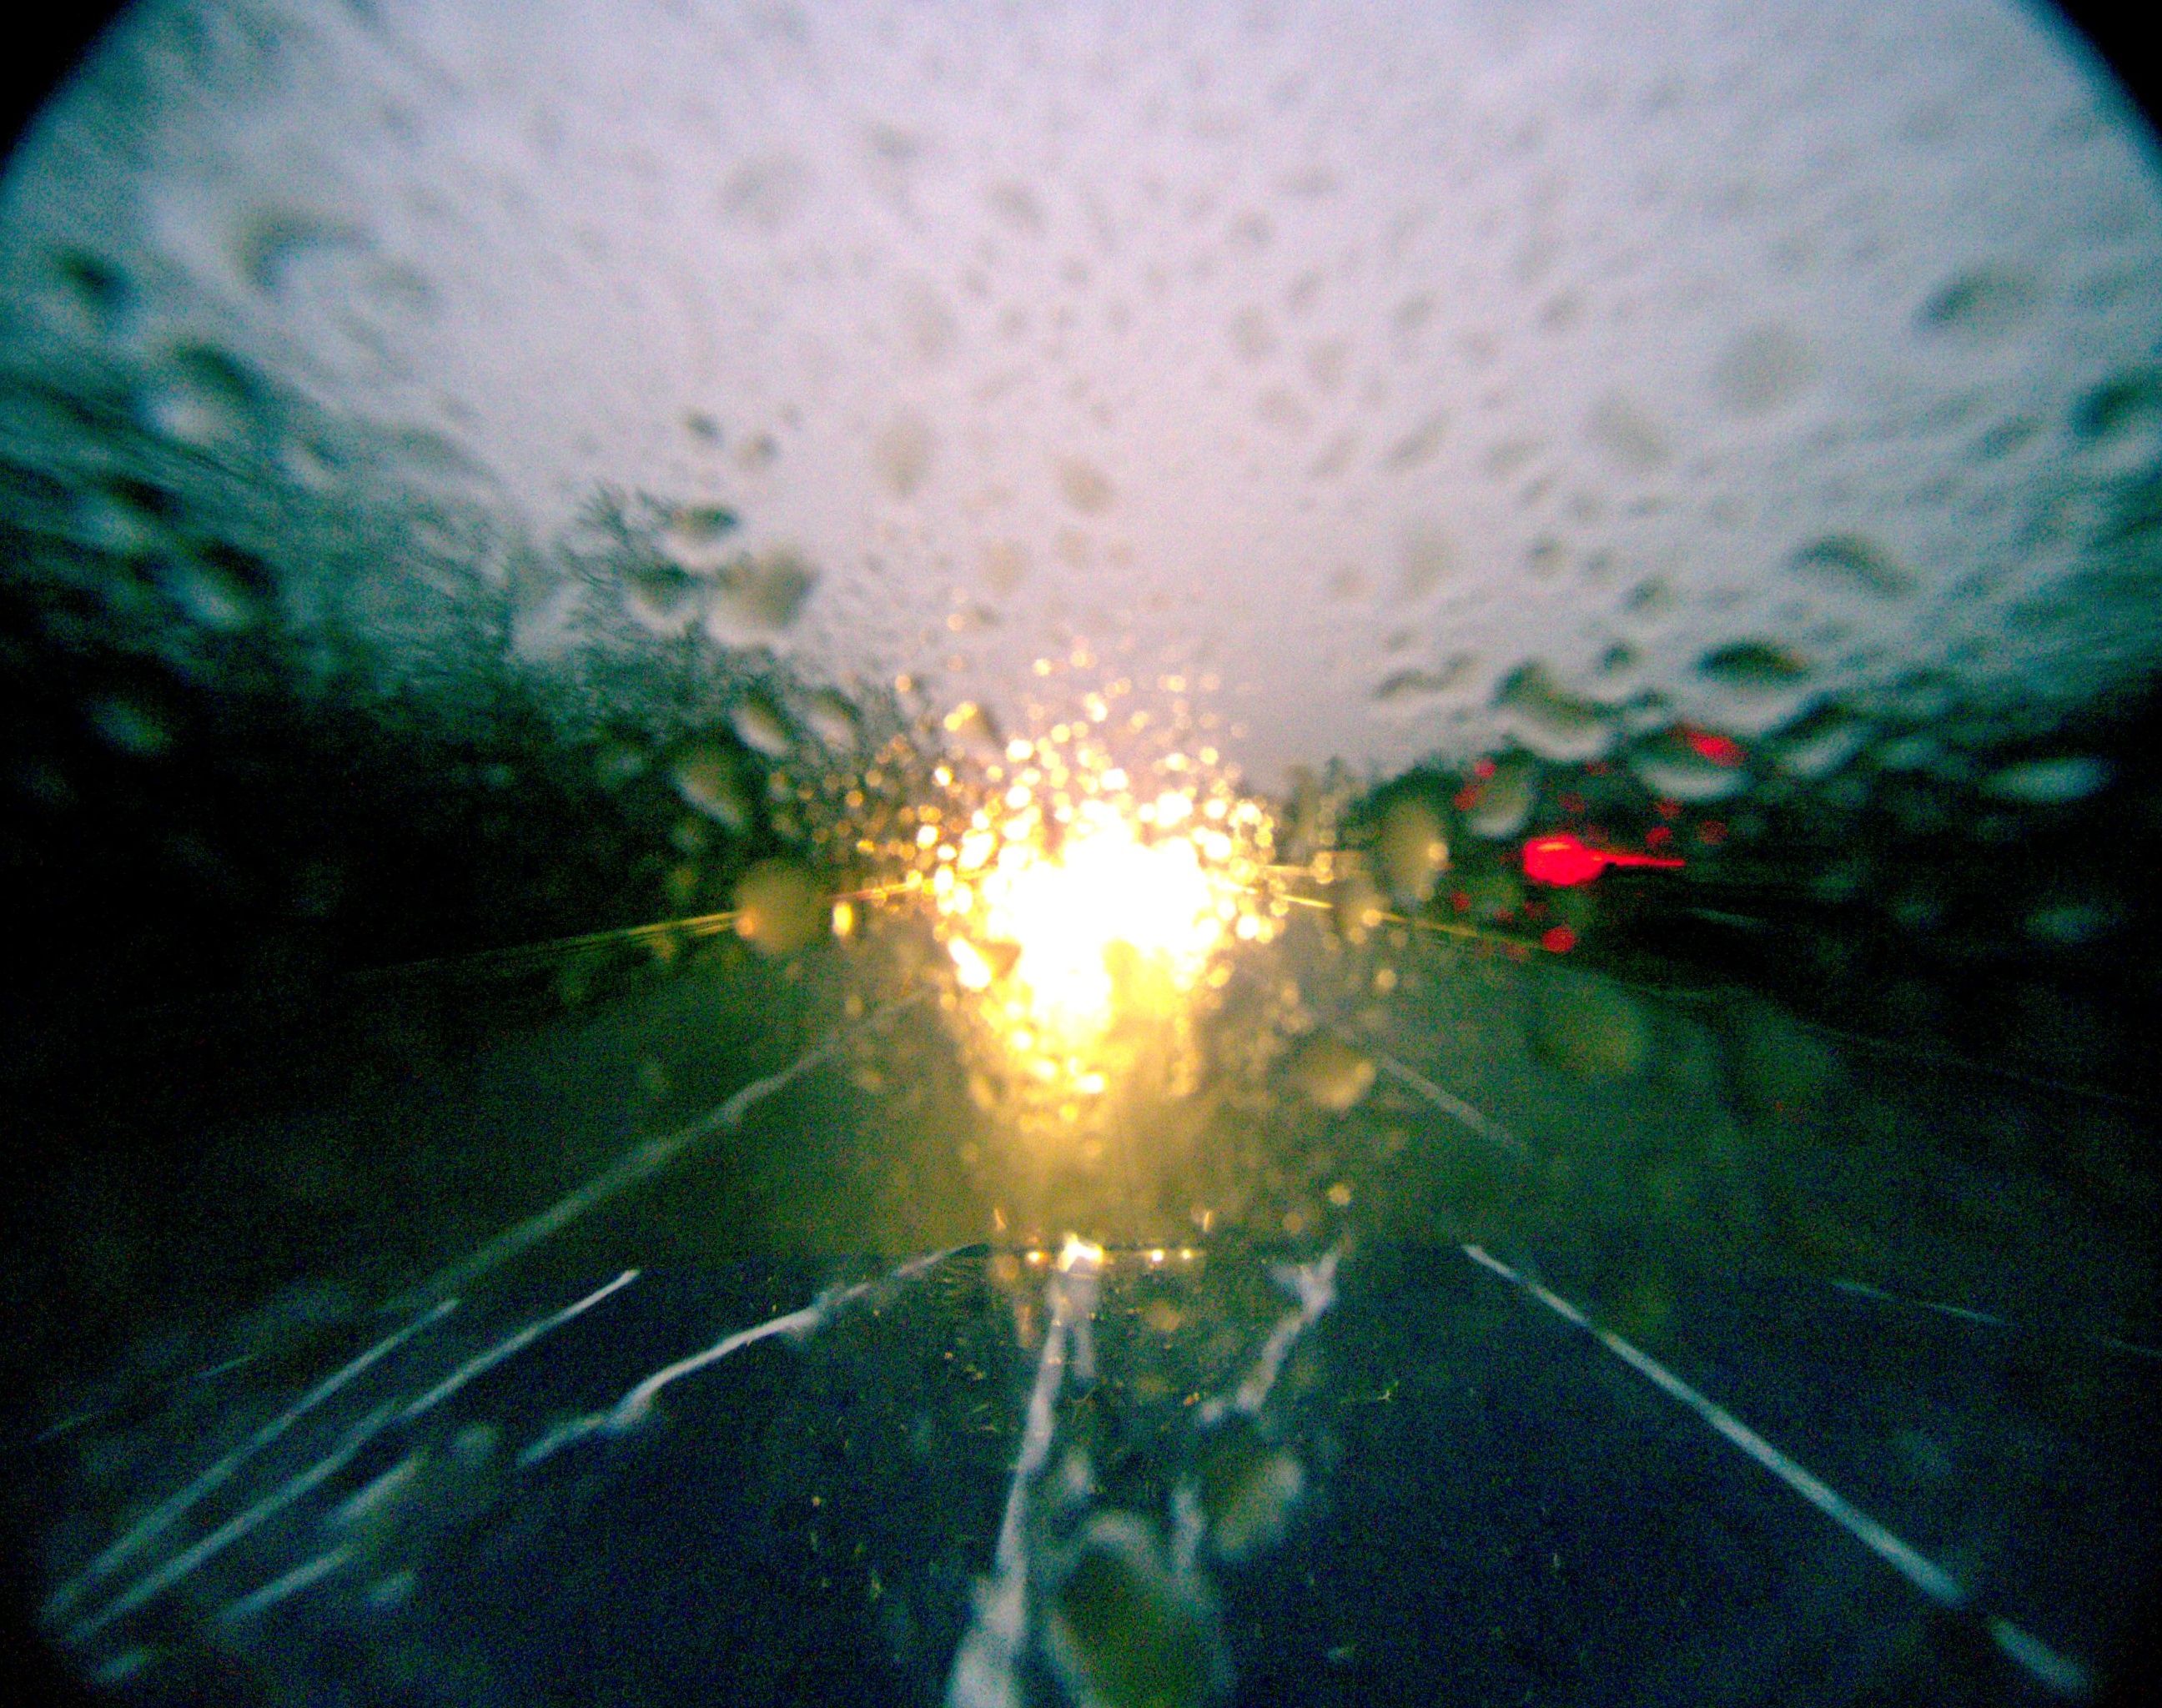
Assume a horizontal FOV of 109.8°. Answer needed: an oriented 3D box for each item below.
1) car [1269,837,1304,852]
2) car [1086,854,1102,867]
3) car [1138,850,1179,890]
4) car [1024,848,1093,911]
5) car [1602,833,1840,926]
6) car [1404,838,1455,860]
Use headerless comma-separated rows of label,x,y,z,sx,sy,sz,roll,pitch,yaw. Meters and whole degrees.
car,25.454,-1.129,94.167,2.002,1.701,3.992,-2,1,-24
car,1.511,0.719,87.602,1.741,1.441,4.000,-2,1,2
car,3.992,0.786,39.711,1.766,1.922,4.000,-2,1,1
car,-0.630,0.738,24.443,1.929,1.781,3.941,-2,1,2
car,11.849,0.405,14.373,1.563,1.490,3.430,-2,1,-1
car,33.814,-0.504,73.783,1.780,2.002,4.199,-3,1,-33
